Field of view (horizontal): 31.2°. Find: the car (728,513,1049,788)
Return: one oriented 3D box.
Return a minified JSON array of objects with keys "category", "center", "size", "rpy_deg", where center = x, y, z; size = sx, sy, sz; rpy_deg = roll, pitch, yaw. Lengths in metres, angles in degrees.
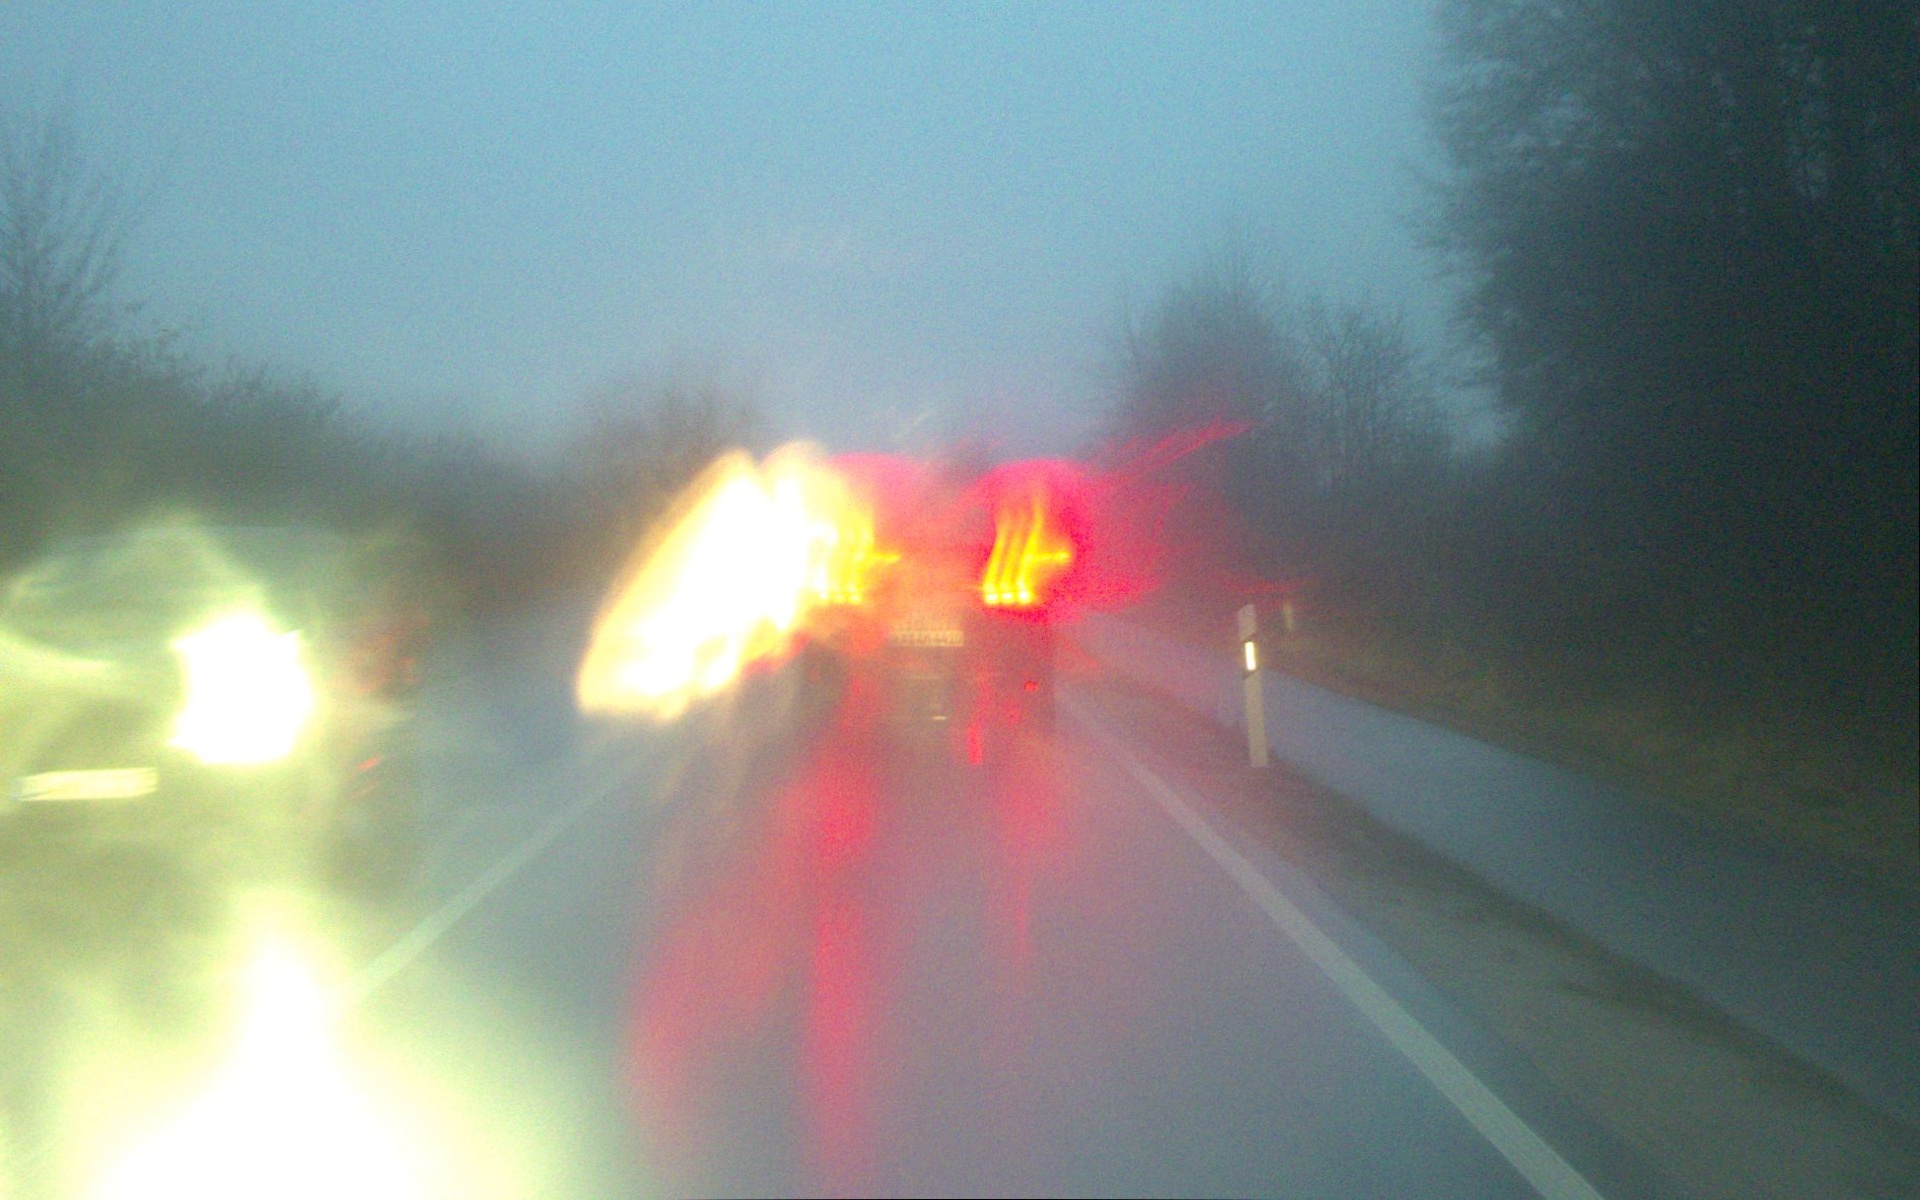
[{"category":"car","center":[-0.509,0.292,25.240],"size":[2.120,1.813,4.980],"rpy_deg":[0,1,-1]}]

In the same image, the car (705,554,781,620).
[{"category":"car","center":[-5.645,-0.362,89.681],"size":[1.767,1.593,4.000],"rpy_deg":[-3,1,-2]}]

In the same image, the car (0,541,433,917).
[{"category":"car","center":[-3.677,0.510,16.201],"size":[1.804,1.482,4.000],"rpy_deg":[-2,1,-1]}]
